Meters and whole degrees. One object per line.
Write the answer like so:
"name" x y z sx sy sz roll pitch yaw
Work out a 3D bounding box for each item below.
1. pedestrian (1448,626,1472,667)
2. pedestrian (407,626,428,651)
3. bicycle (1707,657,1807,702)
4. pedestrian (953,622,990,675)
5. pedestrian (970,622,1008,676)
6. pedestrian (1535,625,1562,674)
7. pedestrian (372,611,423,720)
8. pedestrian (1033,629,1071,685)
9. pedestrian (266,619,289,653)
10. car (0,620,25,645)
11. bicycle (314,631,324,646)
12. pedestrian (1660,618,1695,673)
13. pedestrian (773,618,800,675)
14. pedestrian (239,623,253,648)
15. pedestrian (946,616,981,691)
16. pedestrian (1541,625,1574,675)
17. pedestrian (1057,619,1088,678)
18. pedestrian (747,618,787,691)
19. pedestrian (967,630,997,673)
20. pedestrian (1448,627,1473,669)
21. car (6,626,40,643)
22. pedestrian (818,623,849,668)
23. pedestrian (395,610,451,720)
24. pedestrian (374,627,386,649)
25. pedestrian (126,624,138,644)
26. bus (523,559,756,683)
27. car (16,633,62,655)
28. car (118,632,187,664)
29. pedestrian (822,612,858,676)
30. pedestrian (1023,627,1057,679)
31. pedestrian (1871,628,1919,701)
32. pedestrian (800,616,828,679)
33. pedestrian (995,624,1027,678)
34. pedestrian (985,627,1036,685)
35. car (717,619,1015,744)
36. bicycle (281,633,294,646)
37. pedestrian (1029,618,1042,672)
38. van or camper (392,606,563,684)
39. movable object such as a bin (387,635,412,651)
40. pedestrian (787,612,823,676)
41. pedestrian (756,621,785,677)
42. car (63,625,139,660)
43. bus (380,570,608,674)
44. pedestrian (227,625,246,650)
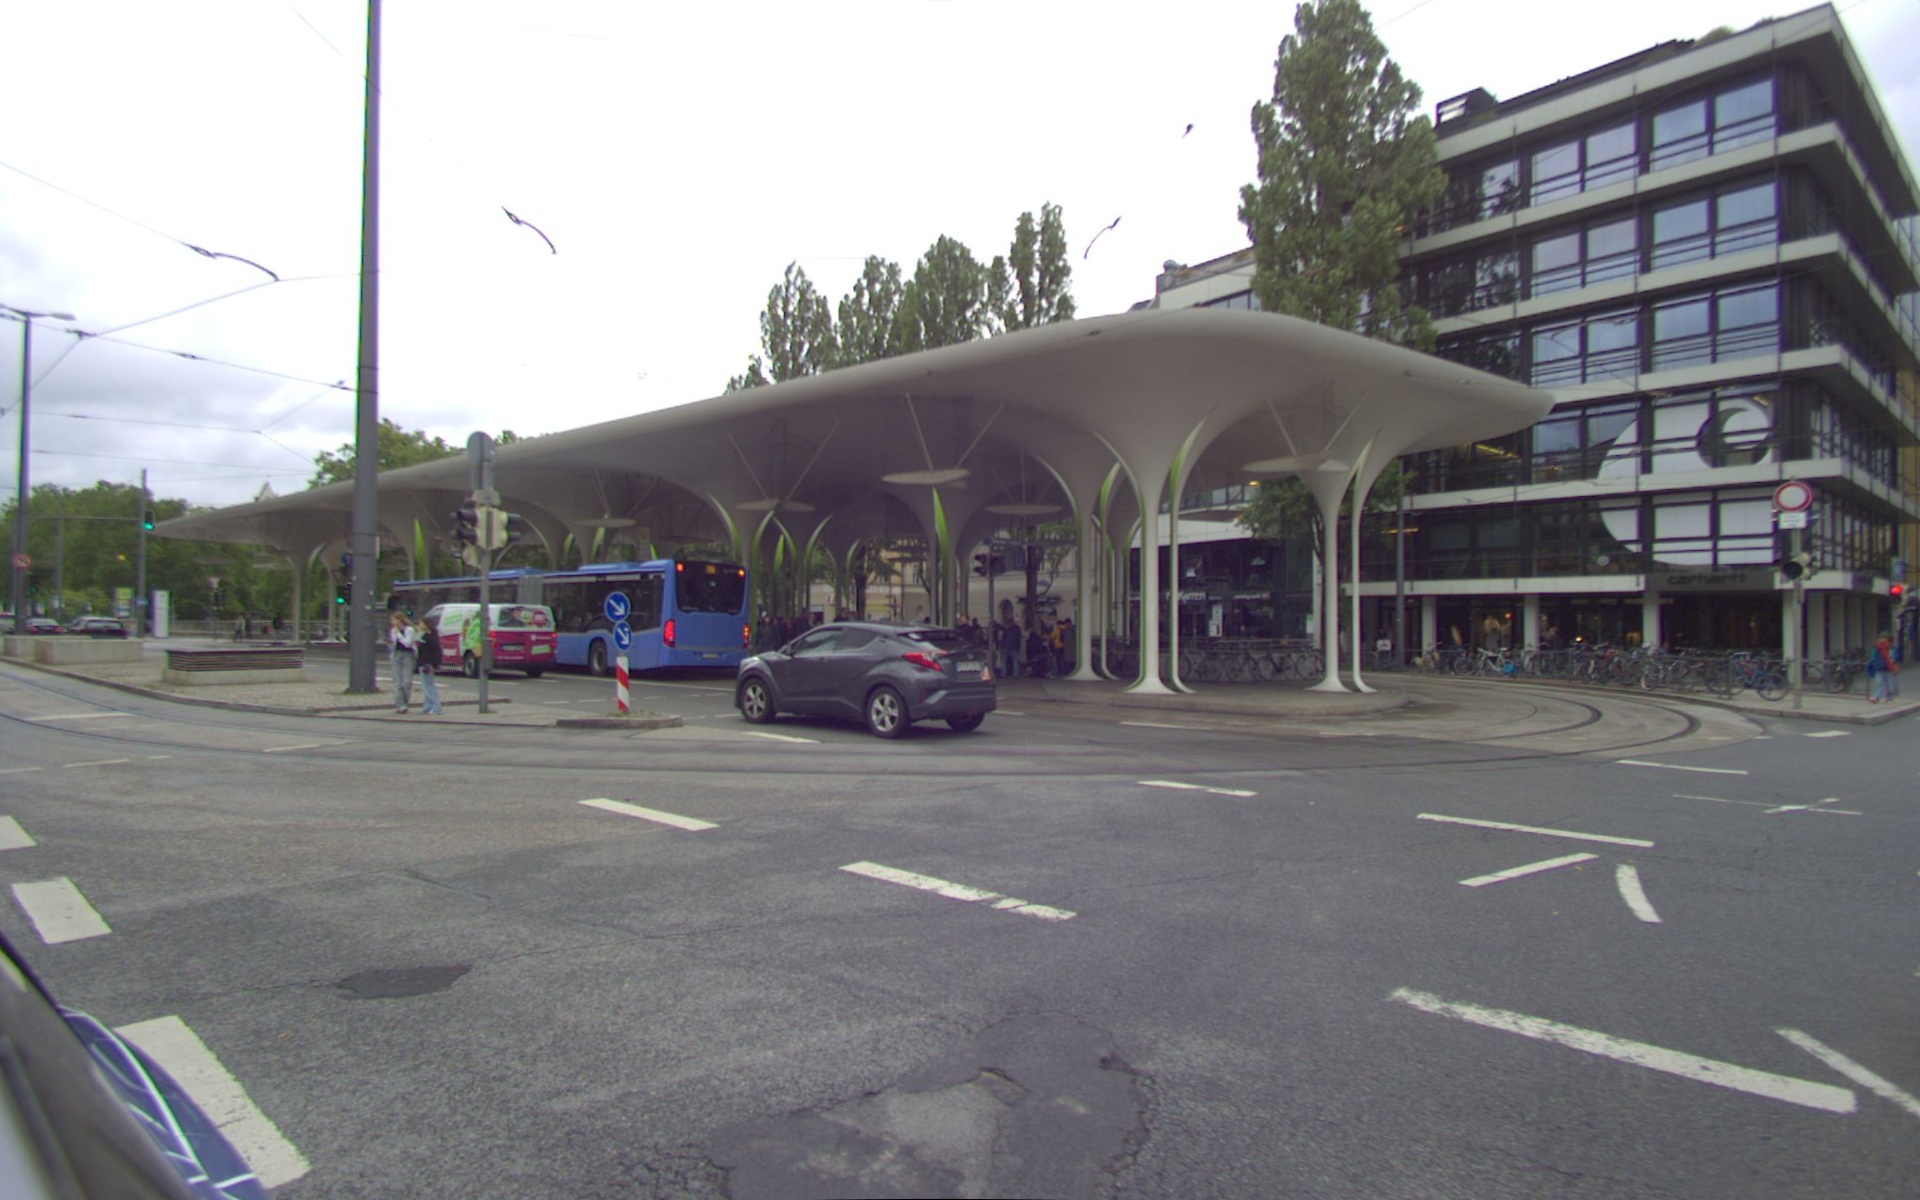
"pedestrian" 20.159 1.871 40.789 0.585 1.604 0.675 1 -2 -39
"pedestrian" -38.791 2.756 72.358 0.957 1.776 1.018 -1 -2 42
"bicycle" 18.083 1.794 22.996 1.719 0.946 0.452 1 -1 21
"pedestrian" 0.389 1.681 35.463 0.994 1.835 0.841 1 -2 -45
"pedestrian" 0.998 1.668 34.803 0.994 1.841 0.841 1 -2 -45
"pedestrian" 22.081 1.839 37.997 0.585 1.814 0.691 1 -2 -39
"pedestrian" -8.537 0.987 15.371 0.514 1.631 0.464 0 -2 -5
"pedestrian" 2.610 1.608 28.713 0.798 1.542 0.724 -1 -2 44
"pedestrian" -37.629 1.988 55.769 0.801 1.853 0.664 0 -2 10
"car" -75.181 2.529 79.139 6.150 1.902 2.153 -1 -2 39
"bicycle" -45.674 2.734 72.104 0.472 1.104 1.854 1 -2 -35
"pedestrian" 26.932 1.683 37.997 0.918 2.029 0.824 -2 -2 44
"pedestrian" -4.903 1.316 28.599 0.533 1.584 0.556 -2 -2 41
"pedestrian" -49.304 2.441 69.876 0.725 1.729 0.862 1 -2 -38
"pedestrian" 0.081 1.245 23.893 0.540 1.733 0.616 1 -2 -41
"pedestrian" 21.954 1.829 37.192 0.710 1.814 0.829 1 -2 -38
"pedestrian" 3.128 1.339 28.129 0.589 1.623 0.624 2 -2 -45
"pedestrian" -4.540 1.273 23.876 0.828 1.694 0.974 0 -2 -5
"pedestrian" 0.687 1.610 31.879 0.867 1.327 0.839 0 -1 -3
"pedestrian" 19.746 1.883 39.944 0.585 1.604 0.675 1 -2 -39
"car" -90.953 3.324 98.193 4.099 1.582 1.973 -1 -2 41
"pedestrian" -4.557 1.628 36.555 0.801 1.623 0.791 1 -2 -42
"pedestrian" -8.132 0.977 15.335 0.551 1.631 0.486 0 -2 7
"pedestrian" -43.044 2.824 75.094 0.728 1.612 0.799 1 -2 -34
"pedestrian" -66.208 2.701 80.947 0.588 1.570 0.624 -1 -3 40
"bus" -9.062 0.639 28.084 7.511 3.031 2.632 -1 -4 42
"car" -62.254 2.929 68.383 4.609 1.389 1.656 -1 -2 40
"car" -37.702 2.223 47.208 4.228 1.406 1.661 -1 -2 39
"pedestrian" -3.461 1.267 29.292 0.793 1.831 0.707 1 -2 -34
"pedestrian" 2.269 1.498 28.653 0.860 1.469 0.551 0 -2 -7
"pedestrian" 21.694 1.475 23.453 0.845 1.654 0.790 2 -2 -44
"pedestrian" -4.053 1.319 28.131 0.693 1.724 0.759 0 -2 -14
"pedestrian" 1.526 1.512 30.159 0.860 1.595 0.551 0 -2 -7
"pedestrian" 1.304 1.436 26.328 1.008 1.464 0.856 1 -2 -37
"car" -1.432 1.067 14.308 4.278 1.520 1.647 -1 -4 40
"bicycle" -47.124 2.759 70.918 0.473 0.901 1.852 1 -2 -41
"pedestrian" 2.762 1.629 36.868 0.418 1.947 0.481 0 -2 13
"van or camper" -12.770 1.161 26.619 5.435 1.840 1.909 -1 -3 39
"movable object such as a bin" -39.564 3.060 71.477 0.957 1.092 1.319 -1 -2 42
"pedestrian" -4.169 1.182 27.220 0.743 1.687 0.627 -1 -1 22
"pedestrian" -5.213 1.342 27.846 0.471 1.516 0.606 -1 -2 39
"car" -37.162 1.810 43.760 4.031 1.427 1.824 -1 -2 40
"bus" -15.902 0.788 33.957 10.506 3.031 2.633 -1 -4 40
"pedestrian" -47.666 2.458 66.689 0.737 1.641 0.734 -1 -2 20
